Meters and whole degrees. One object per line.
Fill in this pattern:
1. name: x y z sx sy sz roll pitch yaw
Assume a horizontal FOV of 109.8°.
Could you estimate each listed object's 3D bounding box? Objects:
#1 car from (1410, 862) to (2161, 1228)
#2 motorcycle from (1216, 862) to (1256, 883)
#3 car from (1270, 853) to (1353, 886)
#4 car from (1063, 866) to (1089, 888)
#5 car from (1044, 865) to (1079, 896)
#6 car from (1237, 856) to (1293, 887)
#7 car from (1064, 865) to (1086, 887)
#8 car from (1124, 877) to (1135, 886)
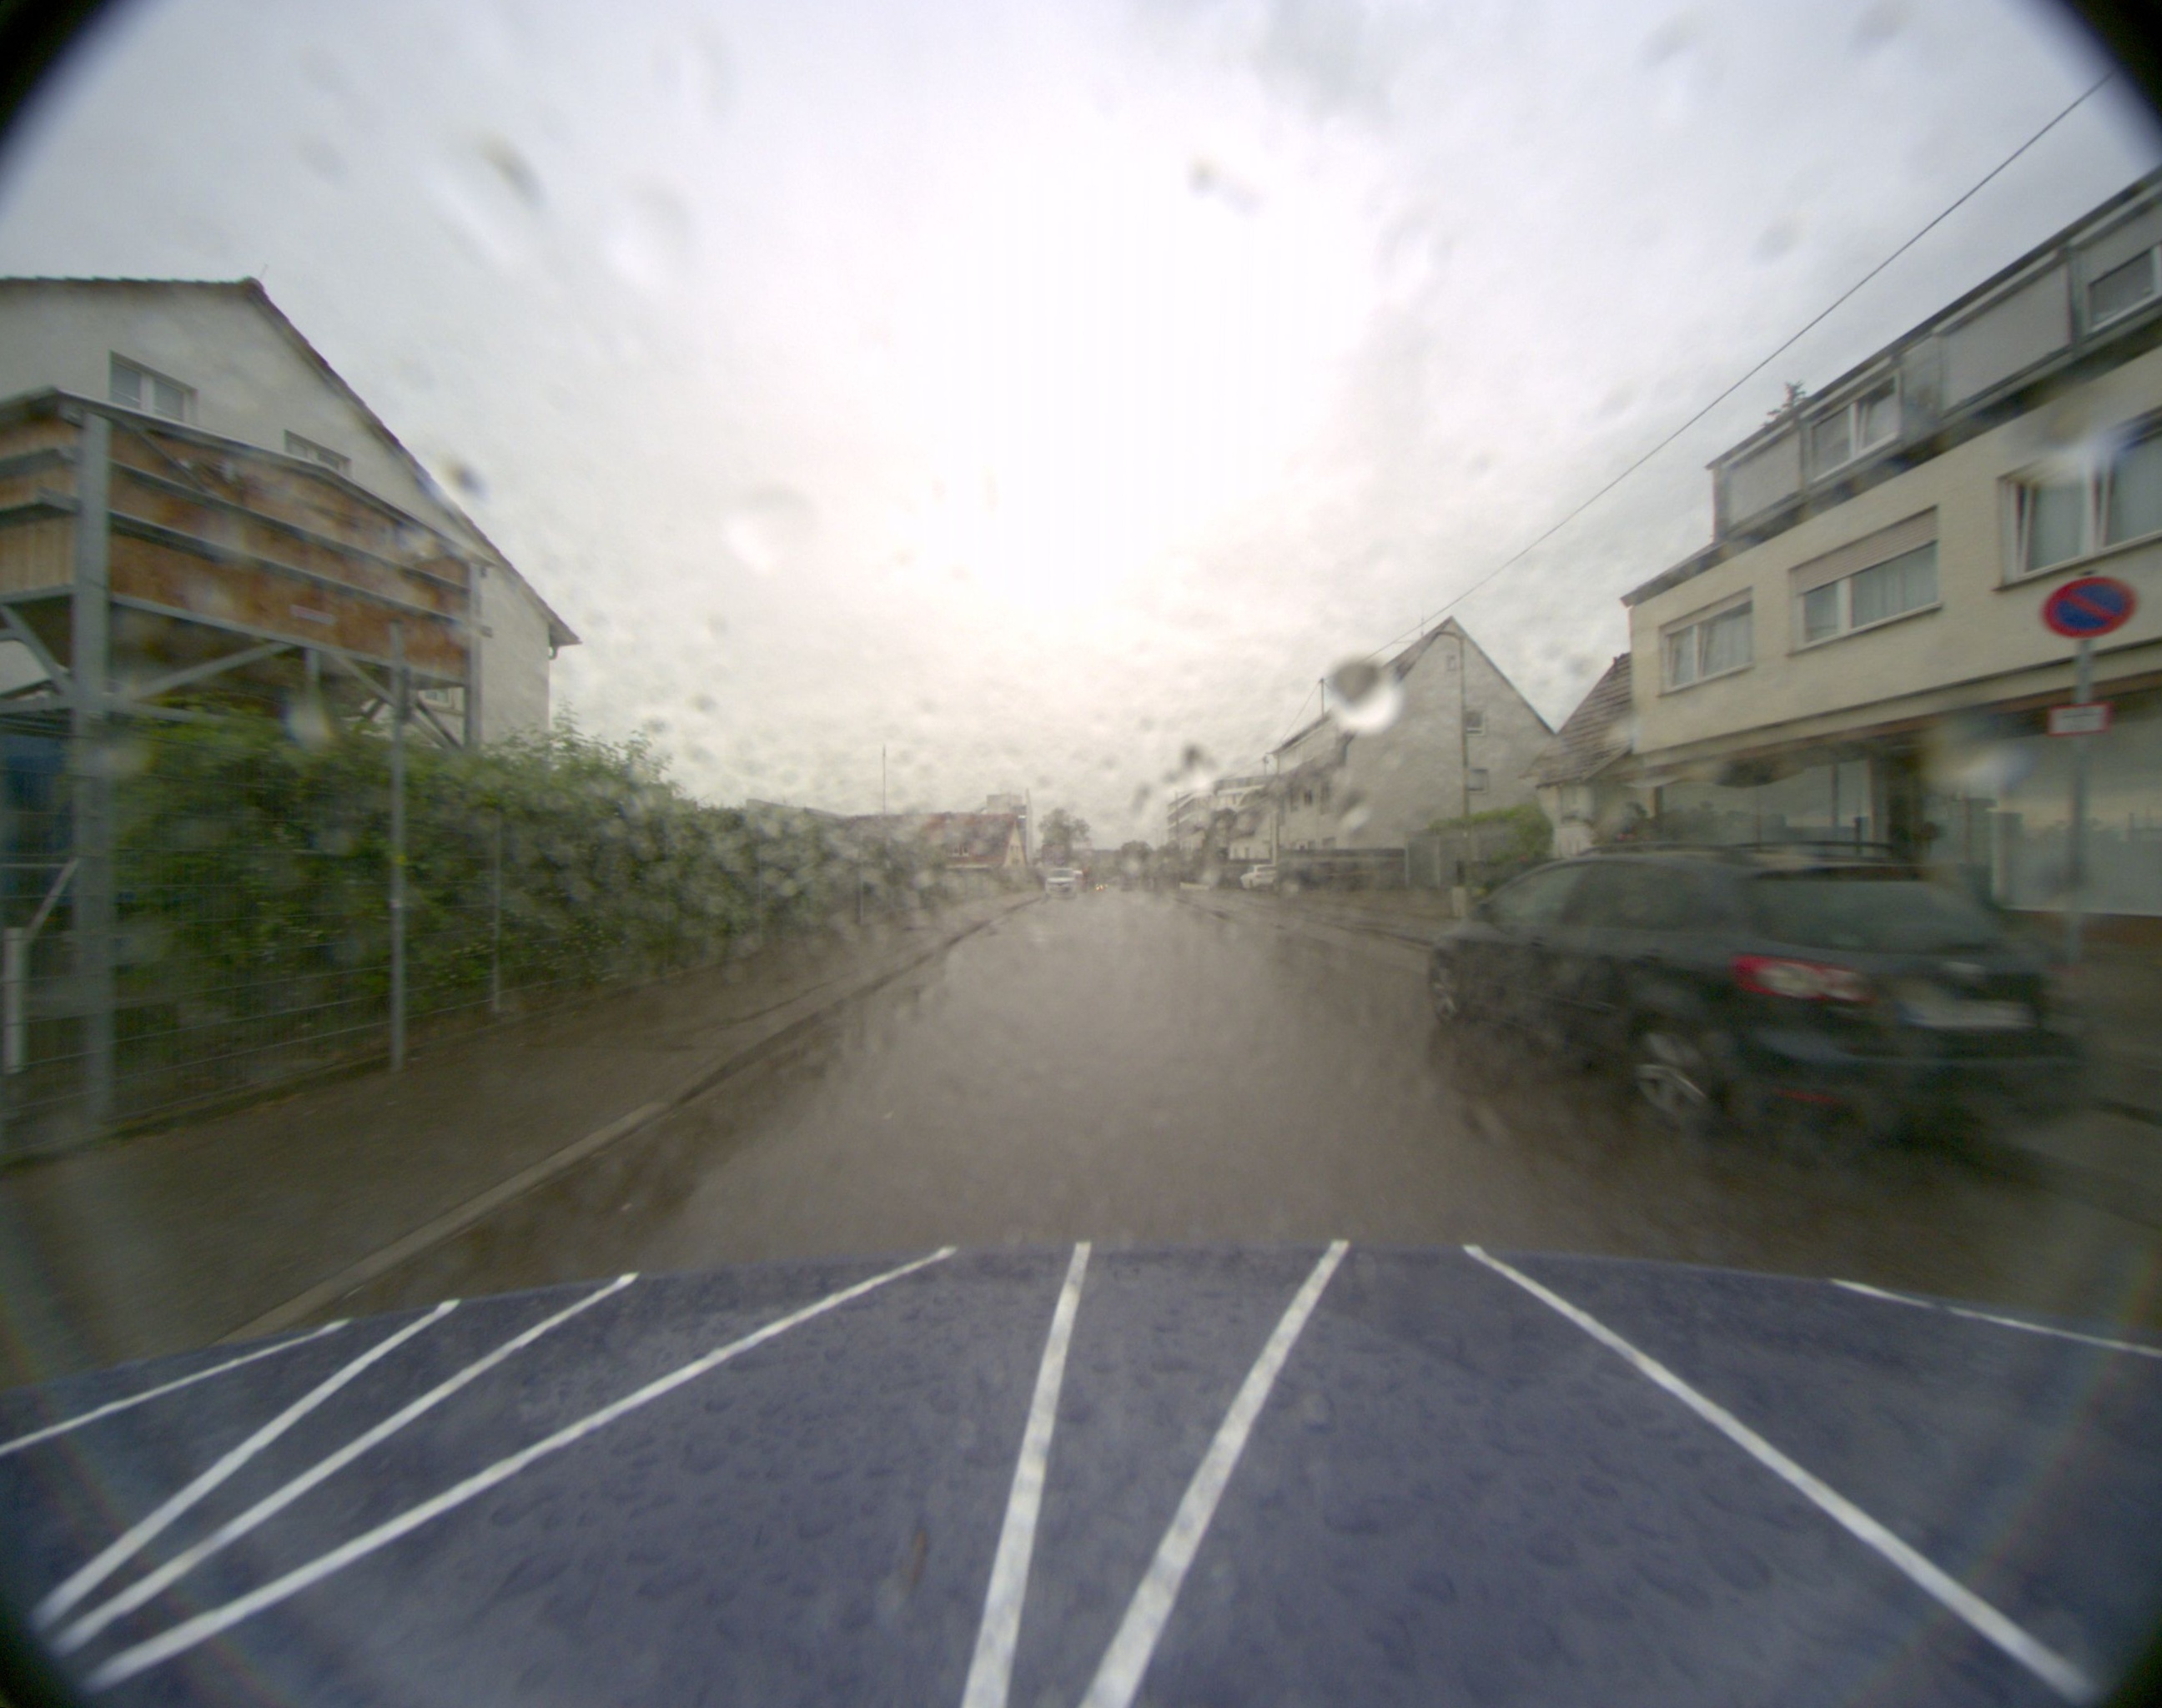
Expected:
1. car: 3.960 0.844 5.264 1.680 1.519 4.000 0 0 1
2. motorcycle: 10.146 1.230 49.827 2.368 1.265 0.736 -3 -1 2
3. car: 10.646 0.763 35.451 1.832 1.360 4.568 -4 -2 -9
4. car: -0.334 1.722 57.827 1.646 1.565 4.646 -2 -2 3
5. car: -0.995 1.434 41.139 1.685 1.548 3.675 -2 -1 1
6. car: 10.268 0.998 42.821 1.998 1.501 4.897 -4 -1 1
7. car: -0.459 1.925 66.476 1.773 1.814 4.576 -2 -2 1
8. car: 8.762 4.942 136.814 1.841 1.695 4.326 -1 -2 3
